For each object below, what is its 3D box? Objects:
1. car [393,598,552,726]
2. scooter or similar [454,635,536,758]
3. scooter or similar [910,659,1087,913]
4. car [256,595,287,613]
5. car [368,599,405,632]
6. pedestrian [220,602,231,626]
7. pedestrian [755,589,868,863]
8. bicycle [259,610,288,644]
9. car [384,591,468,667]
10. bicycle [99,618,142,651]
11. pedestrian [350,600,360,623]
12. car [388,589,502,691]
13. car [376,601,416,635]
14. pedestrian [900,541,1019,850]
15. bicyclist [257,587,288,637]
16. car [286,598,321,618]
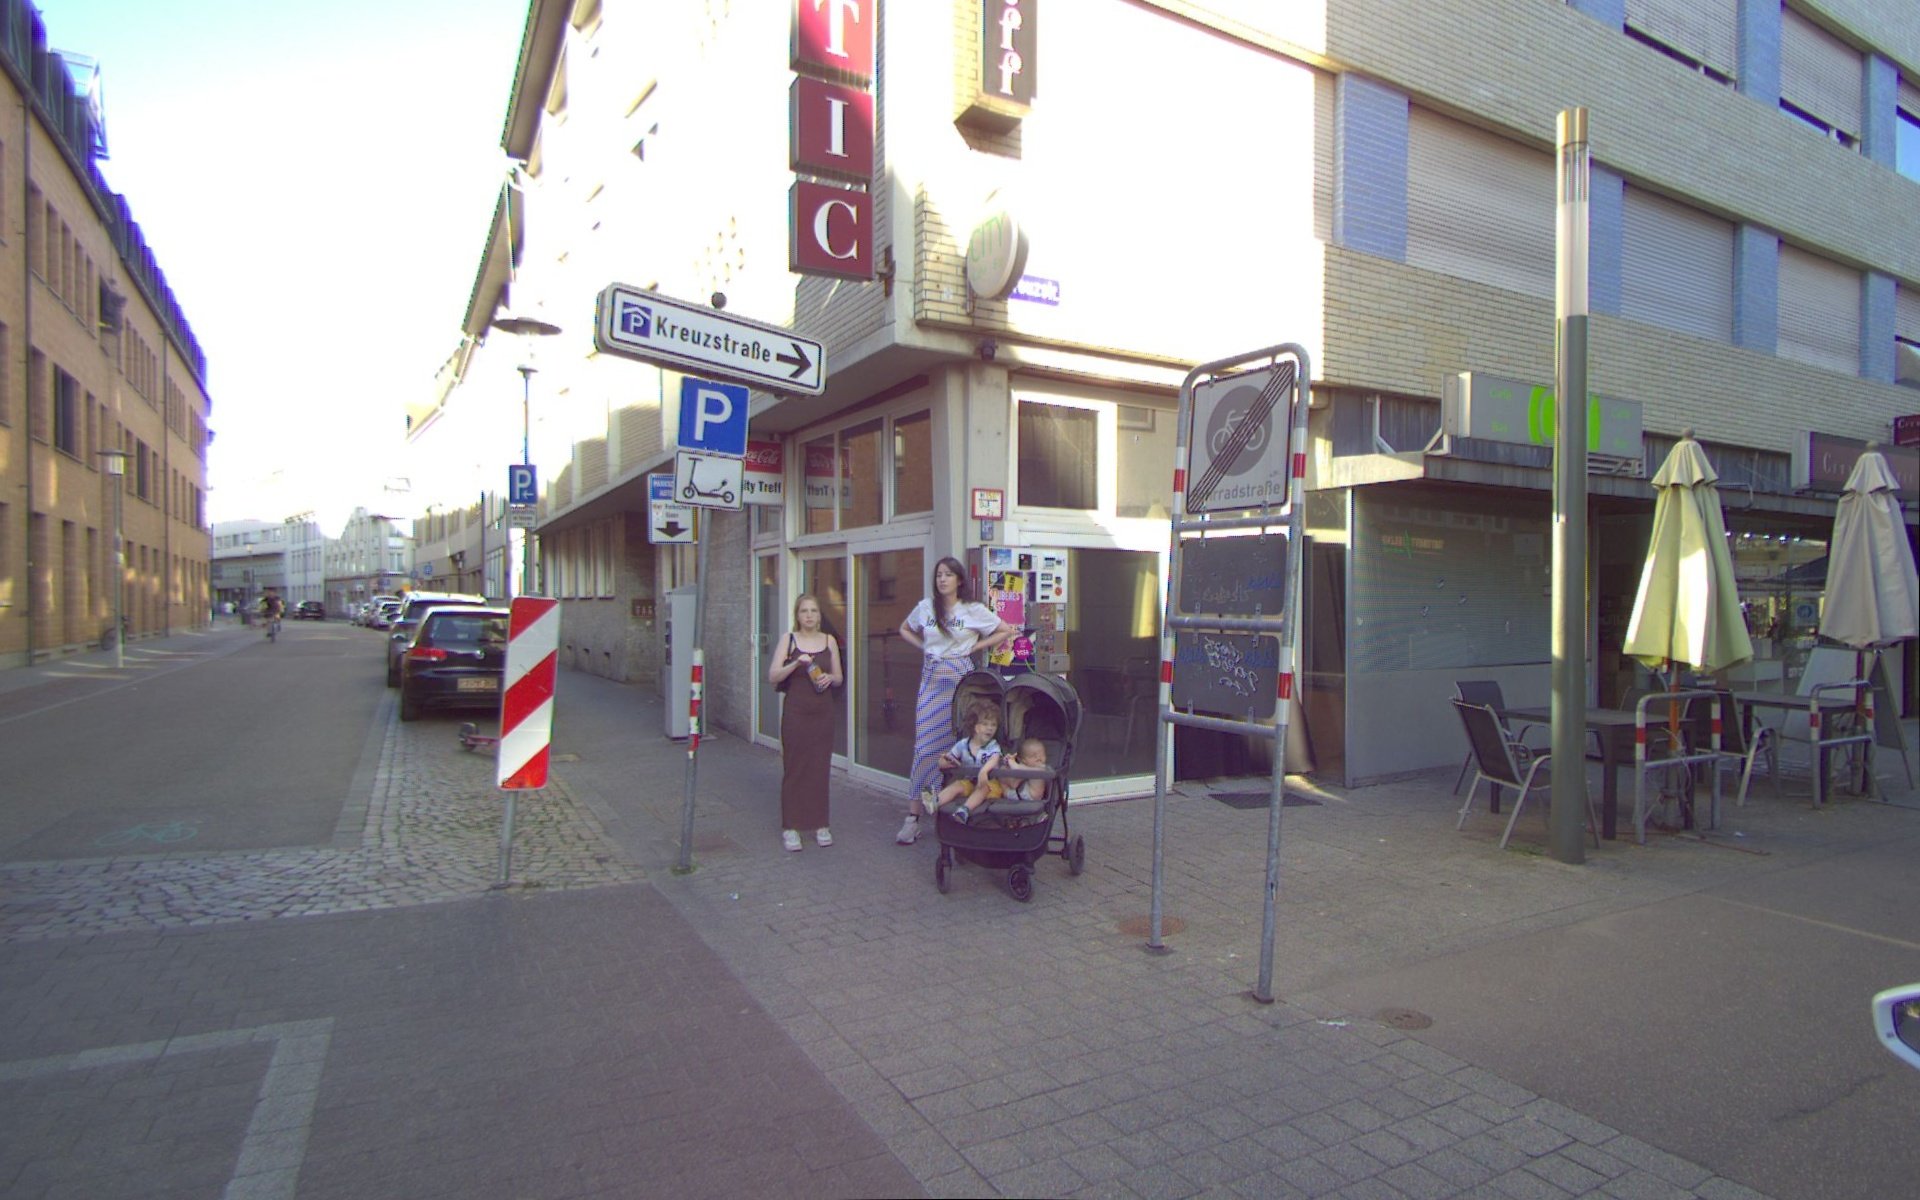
[{"bbox_3d":[-6.931,0.775,14.120,1.720,1.505,3.782,3,-1,-29],"label":"car"},{"bbox_3d":[-4.703,0.959,10.152,0.865,1.199,0.208,0,0,21],"label":"scooter or similar"},{"bbox_3d":[0.241,0.933,5.416,0.783,1.159,0.954,0,1,13],"label":"scooter or similar"},{"bbox_3d":[-67.435,0.392,98.322,1.922,1.673,3.788,2,-1,-43],"label":"car"},{"bbox_3d":[-33.336,0.870,58.357,1.675,1.798,3.625,3,-2,-31],"label":"car"},{"bbox_3d":[-49.010,0.940,67.044,0.537,1.565,0.402,1,0,-31],"label":"pedestrian"},{"bbox_3d":[-0.933,0.747,6.257,0.526,1.601,0.508,-3,1,-23],"label":"pedestrian"},{"bbox_3d":[-23.986,0.932,35.096,0.698,1.118,1.808,-4,2,-37],"label":"bicycle"},{"bbox_3d":[-13.333,0.700,25.015,1.654,1.727,3.981,3,-2,-29],"label":"car"},{"bbox_3d":[-25.133,1.018,30.102,0.636,0.893,2.534,1,-1,-32],"label":"bicycle"},{"bbox_3d":[-40.413,0.773,67.089,0.566,1.499,0.469,0,0,-37],"label":"pedestrian"},{"bbox_3d":[-9.662,0.708,18.734,1.654,1.683,4.049,3,-2,-29],"label":"car"},{"bbox_3d":[-30.180,0.958,53.711,1.675,1.701,3.478,3,-2,-31],"label":"car"},{"bbox_3d":[0.000,0.576,6.342,0.647,1.844,0.571,-2,1,0],"label":"pedestrian"},{"bbox_3d":[-24.001,0.422,35.074,0.766,1.678,0.947,-3,1,-38],"label":"bicyclist"},{"bbox_3d":[-56.481,0.693,86.416,1.922,1.673,3.788,0,0,-43],"label":"car"}]
